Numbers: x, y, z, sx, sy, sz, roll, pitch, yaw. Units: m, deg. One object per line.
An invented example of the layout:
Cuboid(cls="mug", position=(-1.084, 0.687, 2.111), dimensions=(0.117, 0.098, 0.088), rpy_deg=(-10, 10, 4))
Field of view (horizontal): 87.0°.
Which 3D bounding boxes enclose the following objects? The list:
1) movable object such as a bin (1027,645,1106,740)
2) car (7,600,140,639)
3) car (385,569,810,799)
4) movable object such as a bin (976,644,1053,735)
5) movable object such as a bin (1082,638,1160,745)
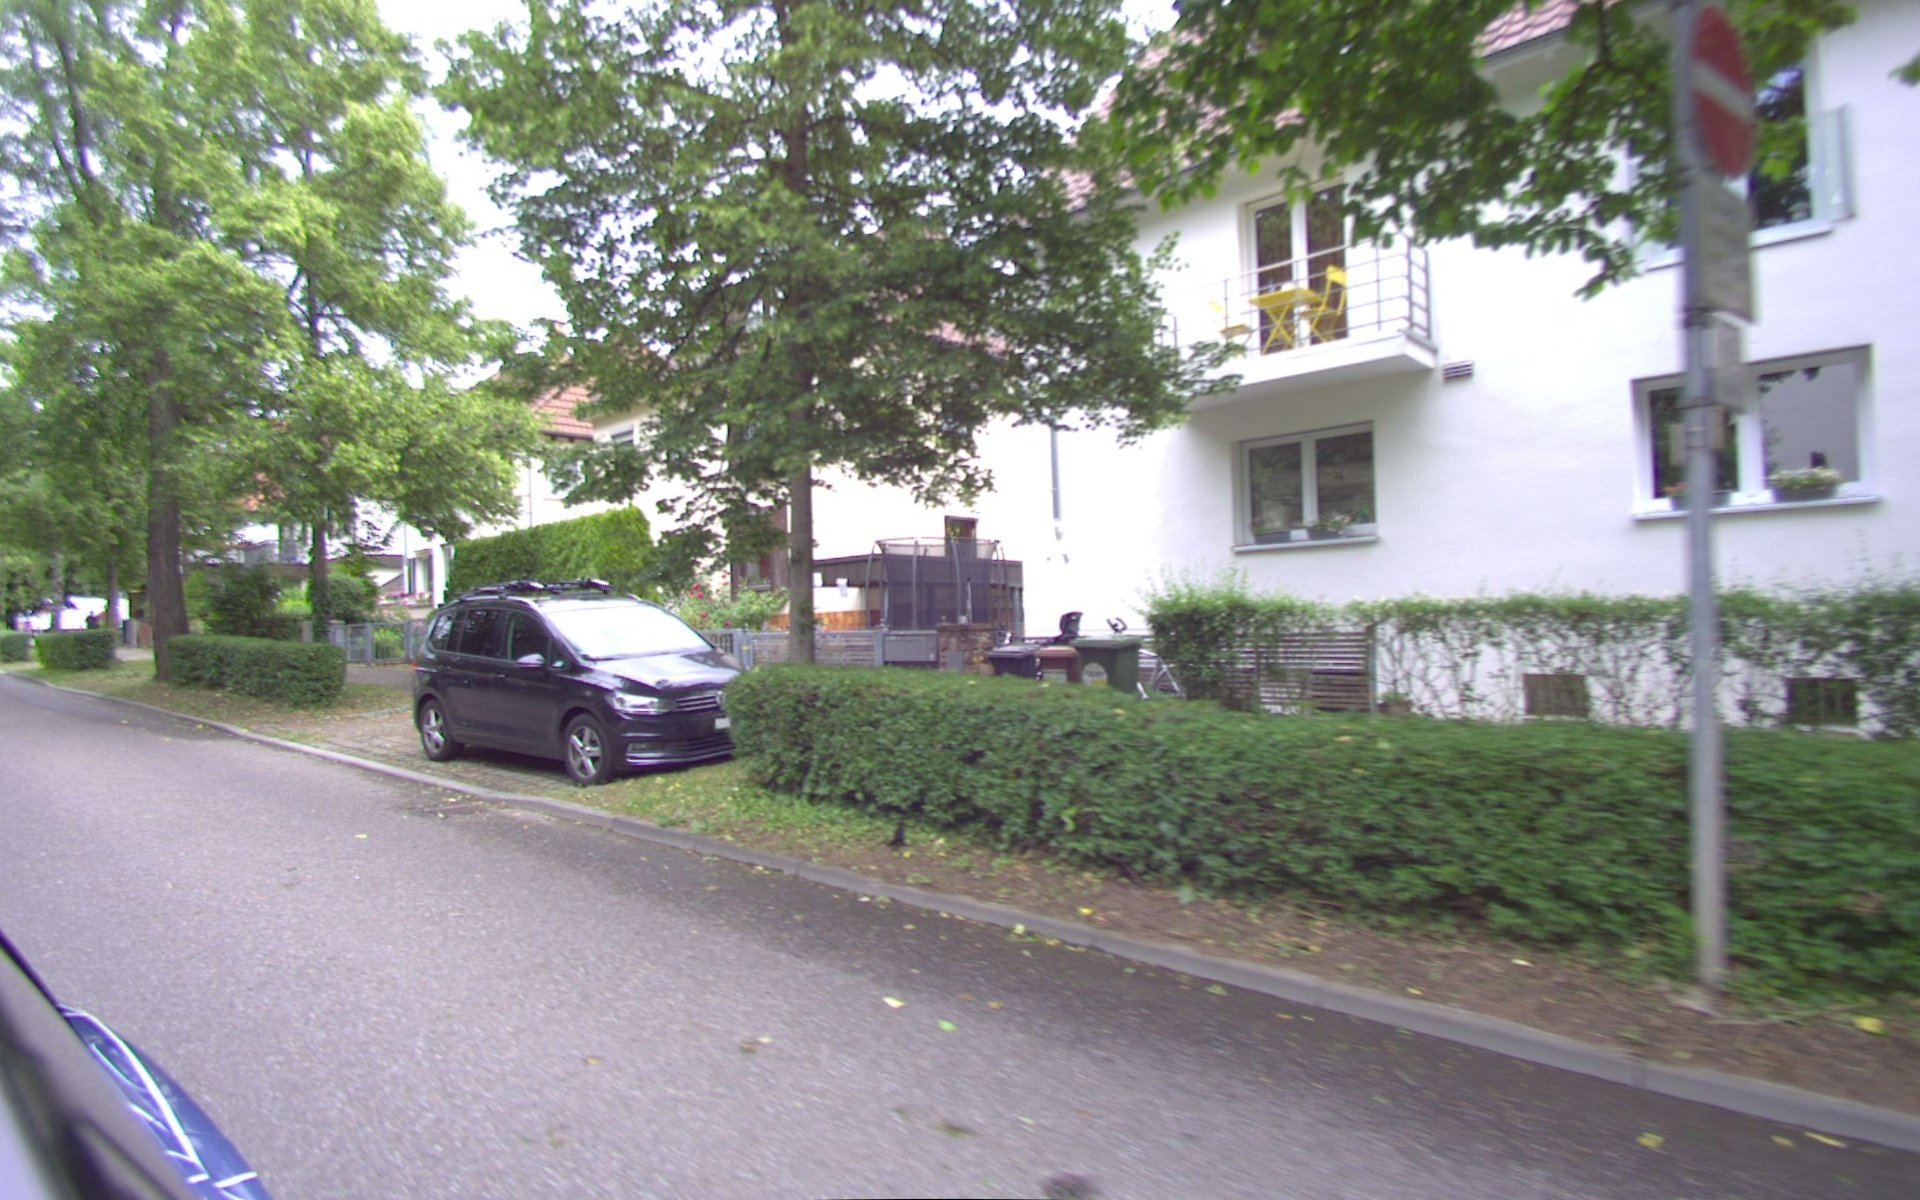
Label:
Cuboid(cls="movable object such as a bin", position=(1.133, 0.958, 10.725), dimensions=(0.639, 0.947, 0.554), rpy_deg=(-1, -2, 36))
Cuboid(cls="car", position=(-56.876, 1.239, 65.115), dimensions=(1.961, 2.365, 6.331), rpy_deg=(-1, -1, 18))
Cuboid(cls="car", position=(-3.681, 0.687, 9.893), dimensions=(4.447, 1.767, 1.808), rpy_deg=(-2, 0, 38))
Cuboid(cls="movable object such as a bin", position=(0.597, 0.964, 11.107), dimensions=(0.639, 0.947, 0.554), rpy_deg=(-1, -2, 36))
Cuboid(cls="movable object such as a bin", position=(1.644, 0.909, 10.337), dimensions=(0.600, 1.033, 0.554), rpy_deg=(-1, -2, 36))
